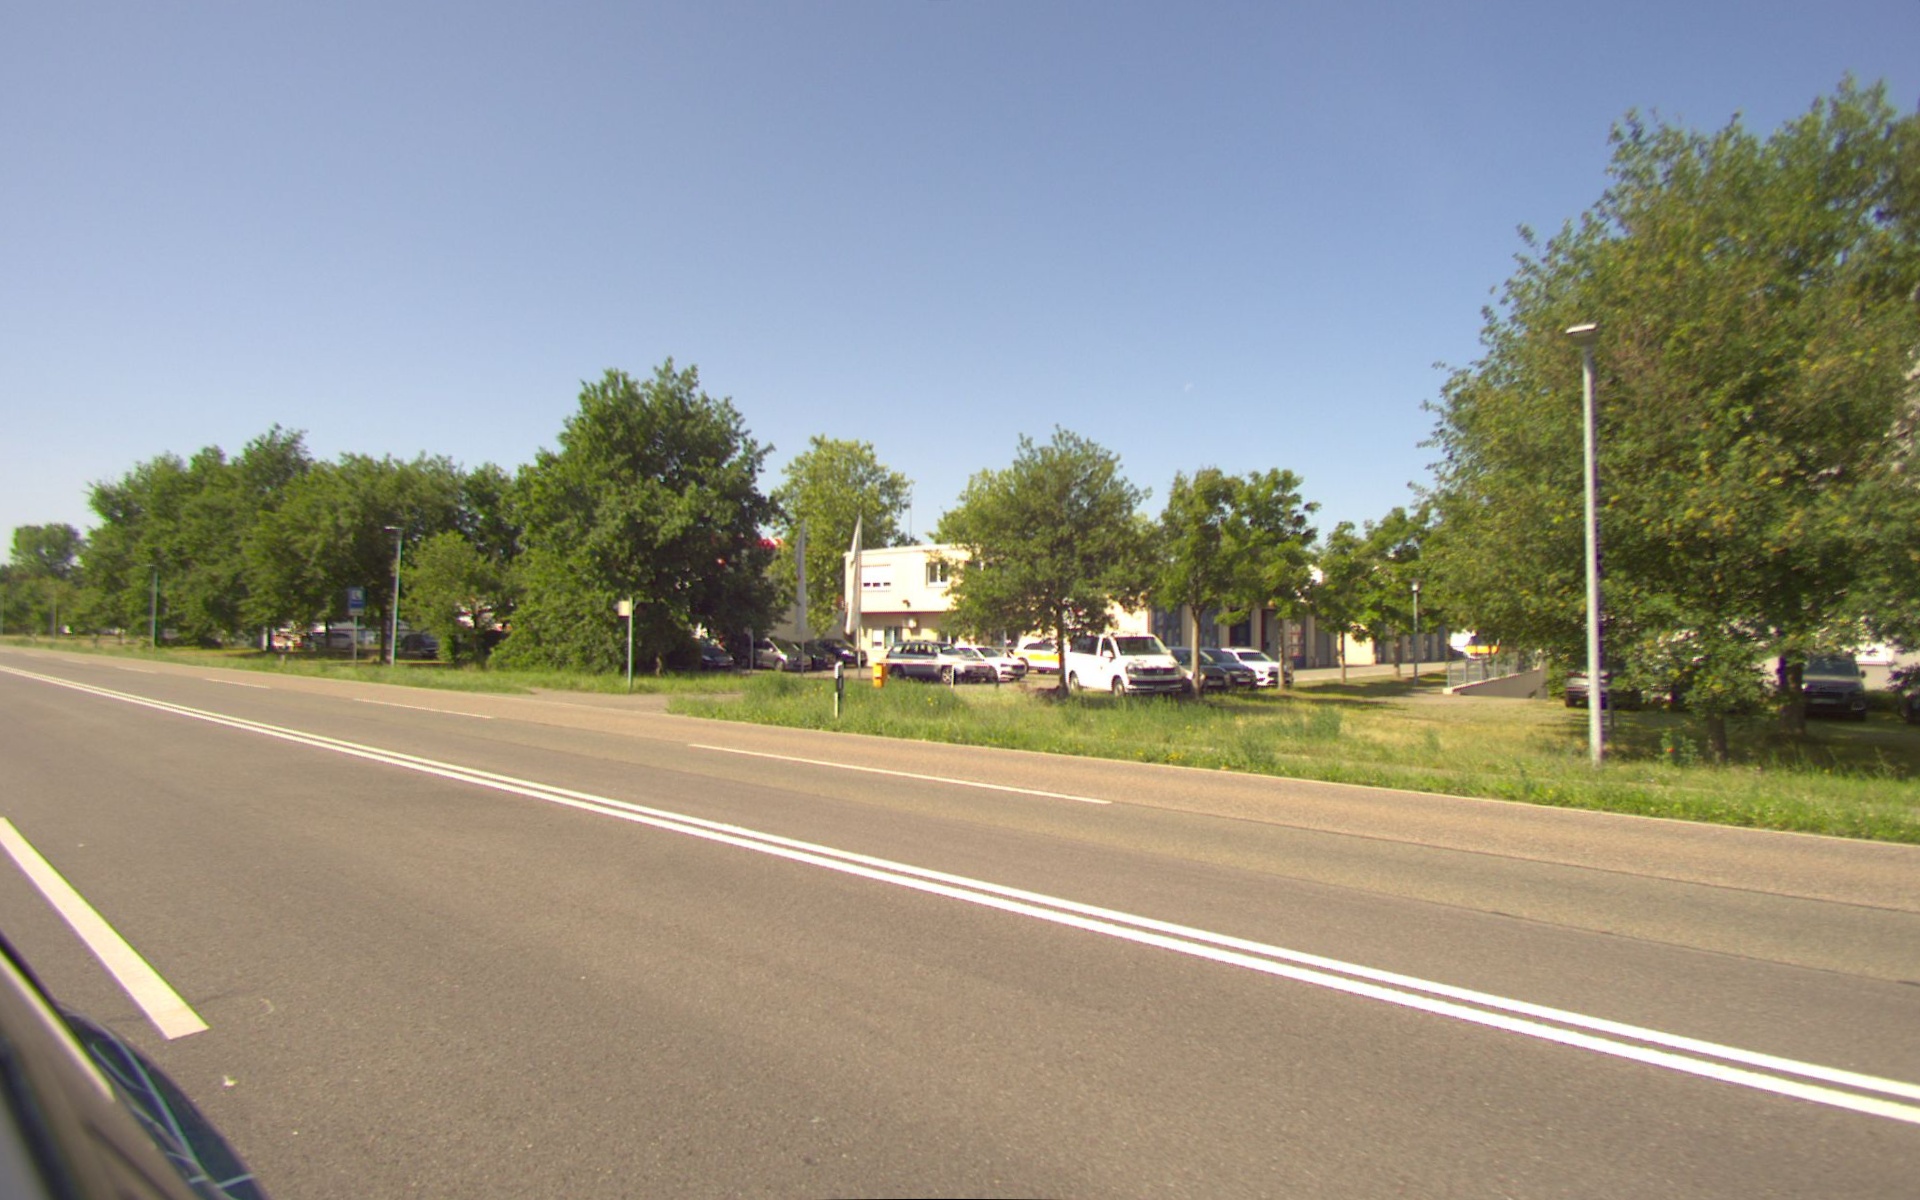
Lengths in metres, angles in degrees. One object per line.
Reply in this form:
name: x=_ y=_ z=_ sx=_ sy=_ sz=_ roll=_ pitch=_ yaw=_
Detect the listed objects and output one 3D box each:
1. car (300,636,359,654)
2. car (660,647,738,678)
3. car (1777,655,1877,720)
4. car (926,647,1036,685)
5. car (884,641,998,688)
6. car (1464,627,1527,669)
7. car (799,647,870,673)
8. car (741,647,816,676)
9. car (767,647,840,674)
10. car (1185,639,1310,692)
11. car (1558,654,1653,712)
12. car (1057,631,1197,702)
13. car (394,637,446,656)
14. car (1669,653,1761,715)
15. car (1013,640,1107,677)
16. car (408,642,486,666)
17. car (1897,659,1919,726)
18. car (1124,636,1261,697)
car: x=-53.966 y=3.867 z=86.690 sx=1.756 sy=1.512 sz=3.946 roll=-2 pitch=-3 yaw=40
car: x=-12.689 y=2.999 z=49.122 sx=3.998 sy=1.360 sz=1.655 roll=-1 pitch=-3 yaw=41
car: x=23.019 y=2.265 z=26.972 sx=1.886 sy=1.548 sz=3.947 roll=-1 pitch=-3 yaw=40
car: x=0.808 y=2.623 z=40.709 sx=4.188 sy=1.404 sz=1.909 roll=-1 pitch=-3 yaw=40
car: x=-0.750 y=2.439 z=39.012 sx=4.188 sy=1.664 sz=1.909 roll=-1 pitch=-3 yaw=40
car: x=34.831 y=3.082 z=65.701 sx=2.284 sy=2.629 sz=6.510 roll=-1 pitch=-3 yaw=40
car: x=-6.971 y=3.303 z=56.071 sx=3.998 sy=1.360 sz=1.655 roll=-1 pitch=-3 yaw=41
car: x=-9.314 y=3.130 z=51.754 sx=3.998 sy=1.360 sz=1.655 roll=-1 pitch=-3 yaw=41
car: x=-8.411 y=3.203 z=54.176 sx=3.998 sy=1.360 sz=1.655 roll=-1 pitch=-3 yaw=41
car: x=10.710 y=2.400 z=38.149 sx=2.038 sy=1.820 sz=5.031 roll=1 pitch=-2 yaw=-19
car: x=19.194 y=2.389 z=30.016 sx=1.886 sy=1.548 sz=3.947 roll=-1 pitch=-3 yaw=40
car: x=4.935 y=1.932 z=30.745 sx=2.038 sy=1.944 sz=5.031 roll=1 pitch=-2 yaw=-19
car: x=-40.909 y=3.515 z=76.655 sx=4.657 sy=1.360 sz=1.769 roll=-1 pitch=-4 yaw=39
car: x=21.378 y=2.310 z=28.592 sx=1.886 sy=1.548 sz=3.947 roll=-1 pitch=-3 yaw=40
car: x=4.725 y=2.725 z=47.972 sx=4.166 sy=1.670 sz=1.837 roll=-1 pitch=-3 yaw=41
car: x=-34.796 y=3.669 z=68.730 sx=1.856 sy=1.335 sz=4.305 roll=0 pitch=-5 yaw=40
car: x=24.851 y=2.286 z=25.266 sx=1.886 sy=1.548 sz=3.947 roll=-1 pitch=-3 yaw=40
car: x=7.492 y=2.104 z=33.227 sx=2.038 sy=1.820 sz=5.031 roll=1 pitch=-2 yaw=-19
